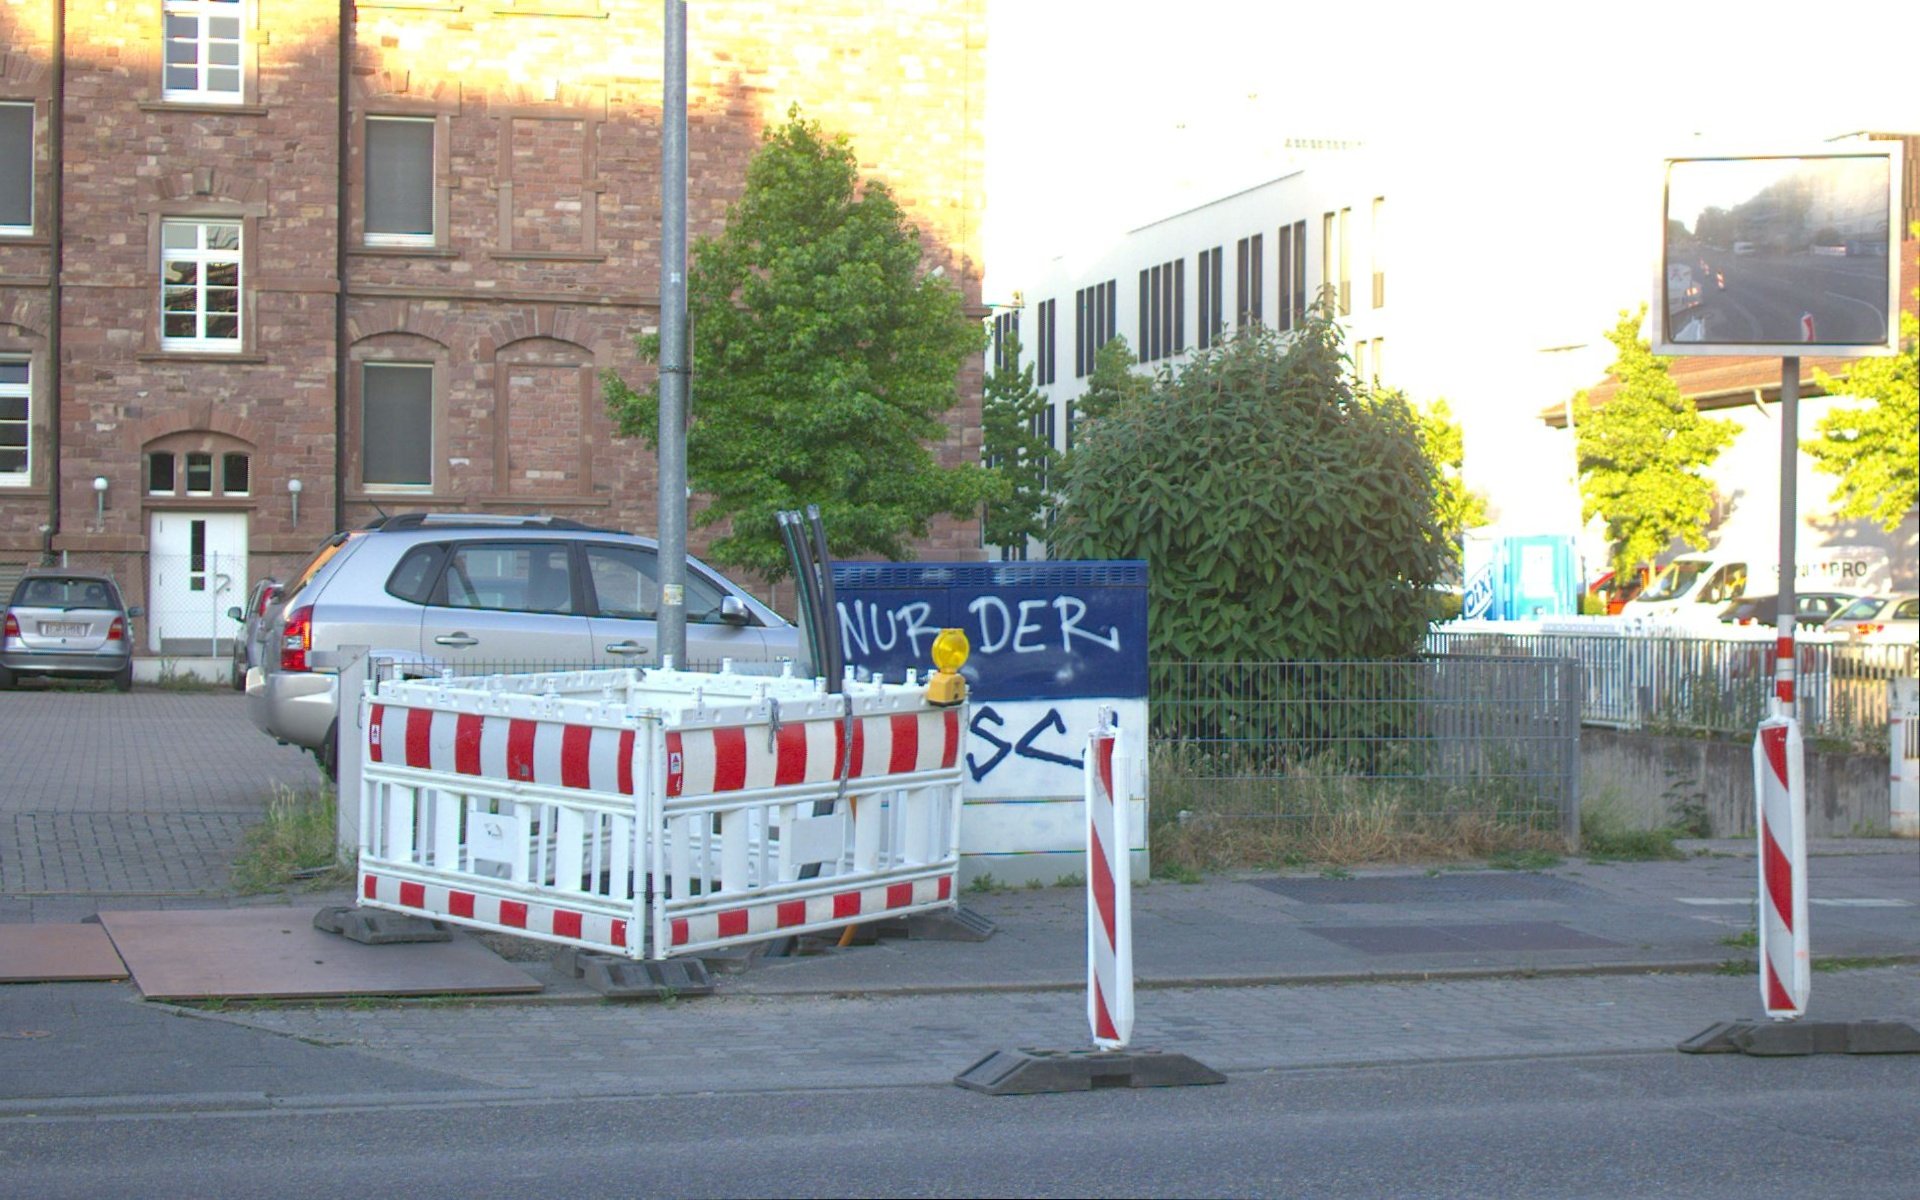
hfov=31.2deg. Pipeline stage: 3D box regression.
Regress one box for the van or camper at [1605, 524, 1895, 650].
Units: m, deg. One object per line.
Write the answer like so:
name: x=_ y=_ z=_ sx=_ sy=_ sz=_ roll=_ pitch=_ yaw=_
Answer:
van or camper: x=14.403 y=-0.227 z=62.677 sx=4.961 sy=2.233 sz=1.687 roll=0 pitch=0 yaw=-17

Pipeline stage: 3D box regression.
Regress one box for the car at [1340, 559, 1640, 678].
car: x=7.336 y=0.242 z=47.625 sx=3.739 sy=1.597 sz=1.687 roll=0 pitch=0 yaw=-17

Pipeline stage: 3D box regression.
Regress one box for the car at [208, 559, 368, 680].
car: x=-9.020 y=0.231 z=45.939 sx=1.896 sy=1.532 sz=4.180 roll=0 pitch=1 yaw=-14

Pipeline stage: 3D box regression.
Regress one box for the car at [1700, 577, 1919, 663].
car: x=14.860 y=0.341 z=59.274 sx=3.739 sy=1.440 sz=1.687 roll=0 pitch=0 yaw=-17

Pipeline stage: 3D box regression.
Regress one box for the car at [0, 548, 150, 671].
car: x=-11.642 y=0.100 z=45.167 sx=1.896 sy=1.532 sz=4.180 roll=0 pitch=1 yaw=-14

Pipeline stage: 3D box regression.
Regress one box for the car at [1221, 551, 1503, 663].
car: x=5.880 y=0.112 z=50.357 sx=3.739 sy=1.597 sz=1.687 roll=0 pitch=0 yaw=-17

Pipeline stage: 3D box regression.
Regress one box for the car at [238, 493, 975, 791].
car: x=-2.192 y=0.231 z=21.037 sx=4.268 sy=1.703 sz=1.703 roll=0 pitch=0 yaw=-15

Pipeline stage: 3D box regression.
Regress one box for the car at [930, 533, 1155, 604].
car: x=1.586 y=-0.616 z=66.815 sx=3.986 sy=1.308 sz=1.878 roll=-1 pitch=0 yaw=-15

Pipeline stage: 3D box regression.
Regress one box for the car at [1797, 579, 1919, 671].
car: x=15.552 y=0.396 z=55.264 sx=3.739 sy=1.440 sz=1.687 roll=0 pitch=0 yaw=-17
